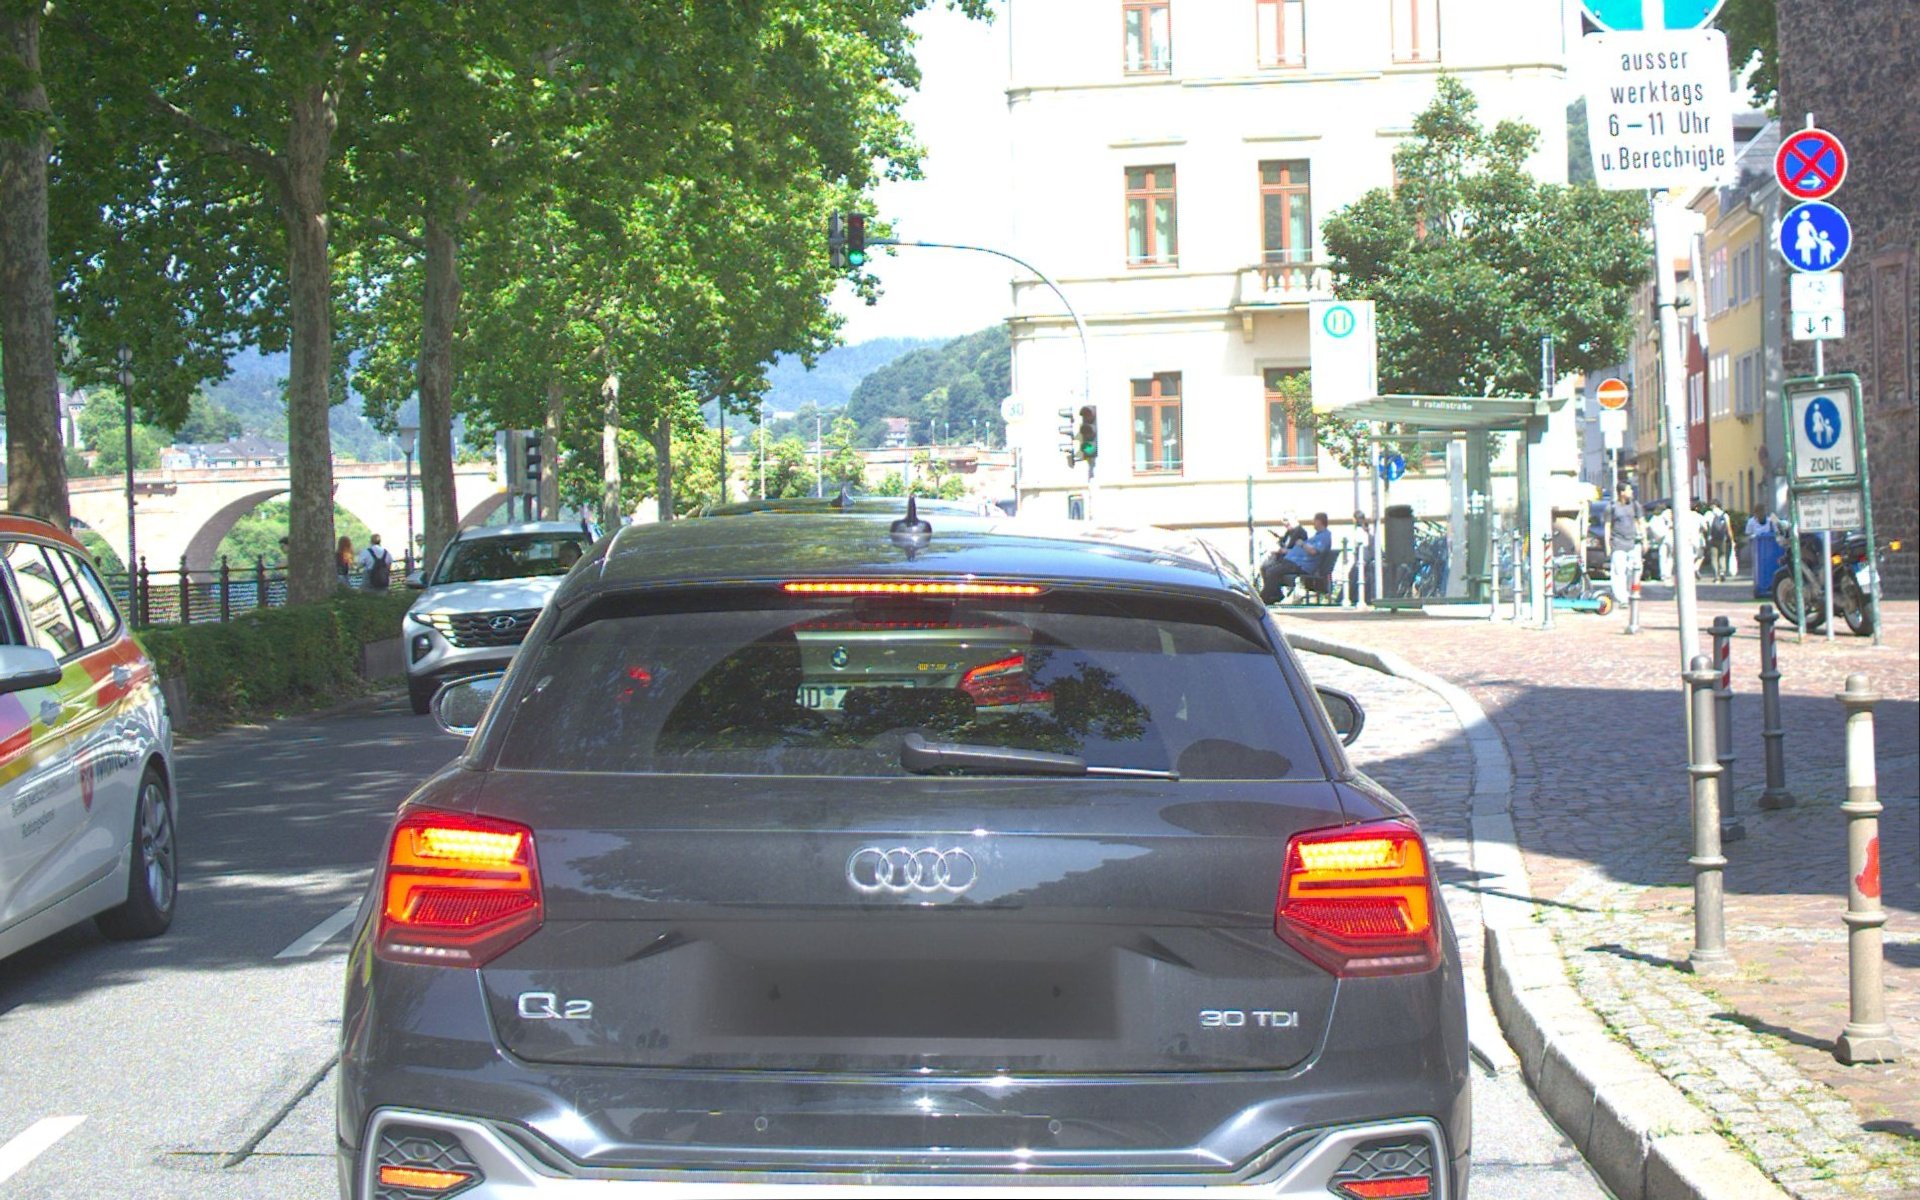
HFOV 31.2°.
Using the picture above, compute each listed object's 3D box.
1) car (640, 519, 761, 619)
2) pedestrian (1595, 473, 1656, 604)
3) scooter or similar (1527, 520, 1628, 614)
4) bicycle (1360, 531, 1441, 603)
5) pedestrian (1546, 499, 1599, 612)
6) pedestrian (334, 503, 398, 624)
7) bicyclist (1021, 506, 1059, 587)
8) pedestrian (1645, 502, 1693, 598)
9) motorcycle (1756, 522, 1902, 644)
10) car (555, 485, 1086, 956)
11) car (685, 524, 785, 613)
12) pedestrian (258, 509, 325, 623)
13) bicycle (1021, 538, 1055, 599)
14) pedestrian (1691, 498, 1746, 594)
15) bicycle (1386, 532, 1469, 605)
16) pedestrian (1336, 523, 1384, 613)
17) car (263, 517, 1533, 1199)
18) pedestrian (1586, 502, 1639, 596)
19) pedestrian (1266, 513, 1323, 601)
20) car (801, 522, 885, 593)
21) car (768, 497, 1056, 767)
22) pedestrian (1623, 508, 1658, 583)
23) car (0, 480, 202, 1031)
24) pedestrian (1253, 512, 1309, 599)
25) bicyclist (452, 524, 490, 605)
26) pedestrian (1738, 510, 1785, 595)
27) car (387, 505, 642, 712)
[{"bbox_3d":[-4.531,-0.576,60.441,1.738,1.566,4.092,-4,1,0],"label":"car"},{"bbox_3d":[9.716,-0.898,50.193,0.747,1.884,0.752,1,0,2],"label":"pedestrian"},{"bbox_3d":[7.080,-0.378,39.435,1.088,1.062,0.323,1,0,-2],"label":"scooter or similar"},{"bbox_3d":[6.352,-0.472,49.551,1.184,1.012,0.179,1,0,-19],"label":"bicycle"},{"bbox_3d":[7.578,-0.548,42.563,0.557,1.380,0.588,1,0,2],"label":"pedestrian"},{"bbox_3d":[-9.966,-0.612,57.686,0.911,2.007,0.585,1,0,4],"label":"pedestrian"},{"bbox_3d":[1.437,-0.960,62.124,0.605,1.445,0.591,1,0,-5],"label":"bicyclist"},{"bbox_3d":[15.015,-1.058,72.826,0.839,2.007,0.738,1,0,0],"label":"pedestrian"},{"bbox_3d":[7.601,-0.170,30.176,0.566,1.009,2.490,-1,1,-2],"label":"motorcycle"},{"bbox_3d":[-0.498,0.376,13.474,1.793,1.589,3.399,1,1,-1],"label":"car"},{"bbox_3d":[-4.981,-0.728,76.574,1.813,1.719,4.422,-6,1,0],"label":"car"},{"bbox_3d":[-10.689,-0.544,54.953,0.911,1.805,0.585,1,0,4],"label":"pedestrian"},{"bbox_3d":[1.404,-0.577,62.188,0.437,1.082,1.677,1,0,-5],"label":"bicycle"},{"bbox_3d":[16.063,-1.139,72.823,0.940,2.007,0.807,1,0,0],"label":"pedestrian"},{"bbox_3d":[6.651,-0.445,48.937,1.201,1.031,0.179,1,0,-19],"label":"bicycle"},{"bbox_3d":[6.765,-0.542,58.194,0.693,1.495,0.514,1,0,-4],"label":"pedestrian"},{"bbox_3d":[-0.111,0.610,6.584,1.743,1.504,3.647,1,1,-1],"label":"car"},{"bbox_3d":[14.047,-1.090,74.010,0.944,2.007,0.807,1,0,0],"label":"pedestrian"},{"bbox_3d":[4.670,-0.599,48.008,0.663,1.207,0.641,1,0,-6],"label":"pedestrian"},{"bbox_3d":[-3.059,-1.119,90.297,1.993,1.800,4.000,1,0,1],"label":"car"},{"bbox_3d":[-0.305,0.151,22.329,1.710,1.603,3.655,0,1,-1],"label":"car"},{"bbox_3d":[14.093,-1.126,71.201,0.622,1.526,0.466,1,0,1],"label":"pedestrian"},{"bbox_3d":[-3.771,0.503,11.076,1.673,1.654,4.223,-4,1,-1],"label":"car"},{"bbox_3d":[4.567,-0.634,48.898,0.663,1.227,0.641,1,0,-6],"label":"pedestrian"},{"bbox_3d":[-7.930,-0.575,55.778,0.566,1.307,0.552,1,0,-5],"label":"bicyclist"},{"bbox_3d":[15.621,-0.929,66.976,0.692,1.607,0.890,-2,1,23],"label":"pedestrian"},{"bbox_3d":[-4.007,0.030,31.502,1.769,1.654,4.000,-4,1,-1],"label":"car"}]
